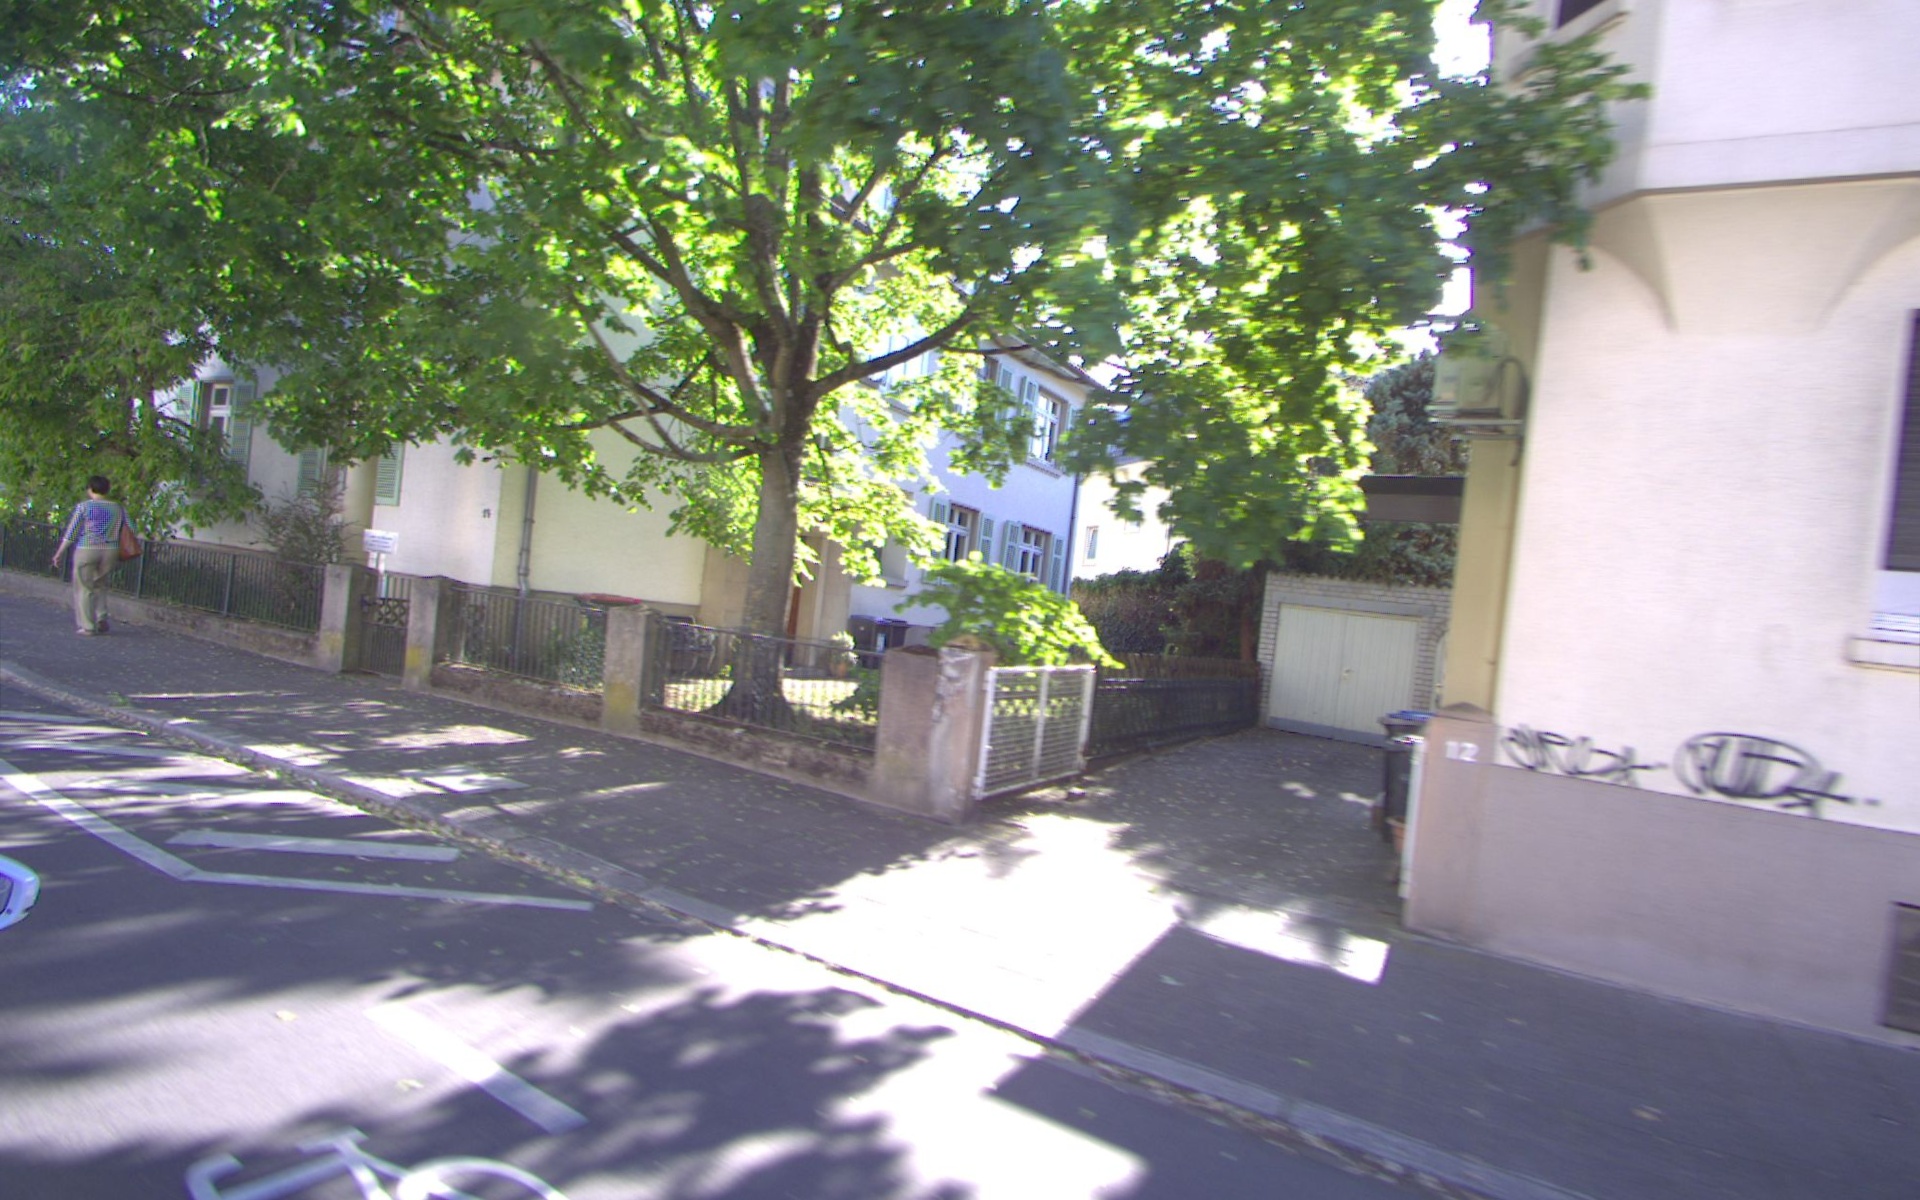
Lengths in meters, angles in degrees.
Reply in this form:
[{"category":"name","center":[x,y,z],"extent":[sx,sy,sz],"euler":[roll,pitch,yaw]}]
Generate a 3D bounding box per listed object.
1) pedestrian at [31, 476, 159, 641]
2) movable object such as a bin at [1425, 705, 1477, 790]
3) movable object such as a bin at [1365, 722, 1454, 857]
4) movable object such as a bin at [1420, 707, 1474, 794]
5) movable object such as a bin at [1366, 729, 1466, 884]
[{"category":"pedestrian","center":[-9.563,-0.450,11.130],"extent":[0.855,1.710,0.719],"euler":[7,2,27]},{"category":"movable object such as a bin","center":[6.044,1.803,12.383],"extent":[0.430,0.943,0.516],"euler":[7,1,32]},{"category":"movable object such as a bin","center":[3.639,1.508,8.139],"extent":[0.490,0.959,0.529],"euler":[7,1,32]},{"category":"movable object such as a bin","center":[5.772,1.770,11.915],"extent":[0.430,0.944,0.448],"euler":[7,1,32]},{"category":"movable object such as a bin","center":[3.281,1.457,7.227],"extent":[0.490,0.959,0.529],"euler":[7,1,32]}]
